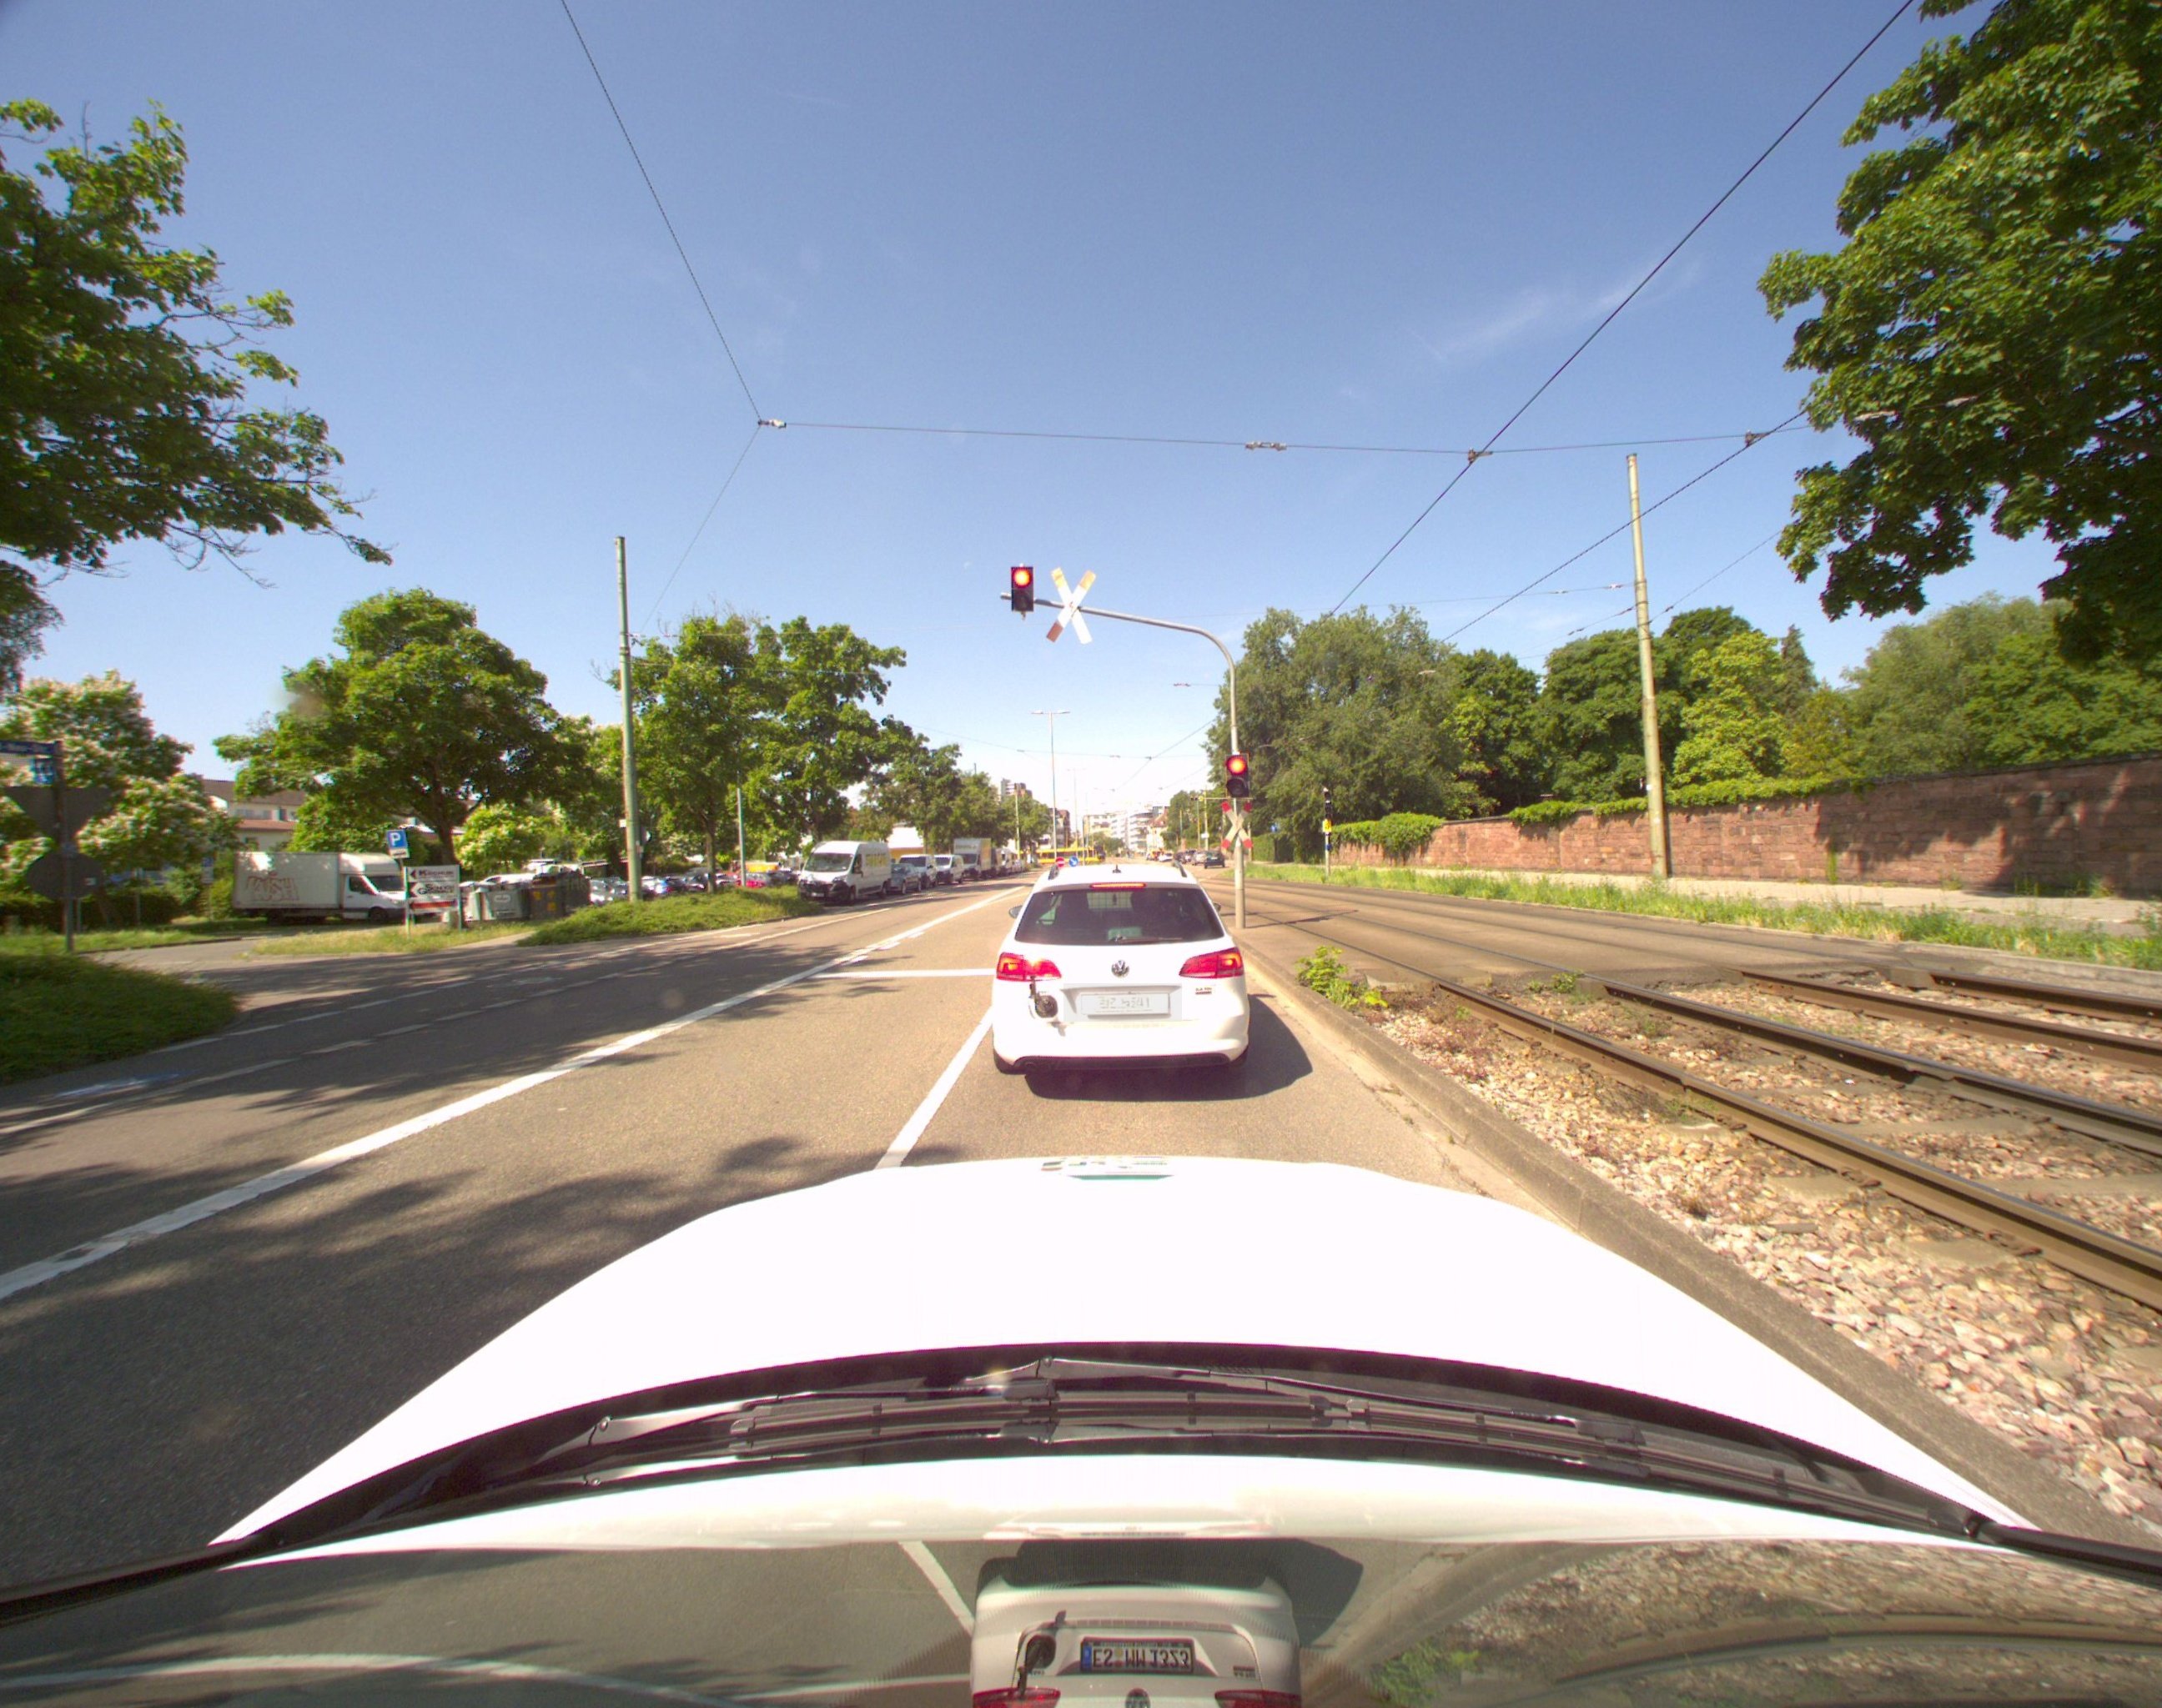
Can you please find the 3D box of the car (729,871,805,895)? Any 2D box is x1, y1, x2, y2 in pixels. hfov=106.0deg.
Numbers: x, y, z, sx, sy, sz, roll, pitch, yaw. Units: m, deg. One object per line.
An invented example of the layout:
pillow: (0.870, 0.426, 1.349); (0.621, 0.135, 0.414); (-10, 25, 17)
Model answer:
car: (-19.482, 1.778, 50.617); (3.969, 1.225, 1.773); (-3, 0, 4)

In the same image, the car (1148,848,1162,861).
car: (15.064, 0.125, 166.031); (2.454, 2.499, 5.912); (0, -1, 2)

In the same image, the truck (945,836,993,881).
truck: (-8.276, 0.303, 60.983); (2.348, 3.122, 6.893); (-3, 0, 1)

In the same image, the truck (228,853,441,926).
truck: (-32.335, 1.495, 35.449); (7.119, 3.019, 2.231); (0, 0, -1)

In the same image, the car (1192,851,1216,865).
car: (12.465, 0.370, 82.581); (1.854, 1.416, 4.326); (0, 0, 2)

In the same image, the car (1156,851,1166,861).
car: (14.635, 0.314, 149.256); (1.685, 1.812, 3.455); (0, -1, 1)

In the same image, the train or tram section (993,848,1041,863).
train or tram section: (-14.272, 0.401, 181.280); (10.880, 3.253, 2.322); (-1, -1, 27)

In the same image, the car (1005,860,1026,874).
car: (-7.383, 1.406, 92.129); (1.837, 1.433, 4.039); (-3, 0, 2)

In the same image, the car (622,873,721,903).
car: (-20.169, 1.667, 40.217); (3.969, 1.225, 1.773); (-3, 0, 4)

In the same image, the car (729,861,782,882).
car: (-31.282, 1.693, 78.373); (4.249, 2.014, 1.997); (0, -1, -5)

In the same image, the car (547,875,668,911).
car: (-19.866, 1.612, 34.304); (3.974, 1.225, 1.771); (-3, 0, 0)

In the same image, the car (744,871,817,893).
car: (-19.477, 1.795, 52.838); (3.969, 1.225, 1.773); (-3, 0, 4)

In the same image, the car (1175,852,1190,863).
car: (13.428, 0.480, 108.050); (1.739, 1.407, 3.916); (0, 0, 3)

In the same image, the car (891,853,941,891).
car: (-9.247, 0.976, 46.145); (1.839, 1.937, 5.190); (-3, 0, -2)

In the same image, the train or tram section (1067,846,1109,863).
train or tram section: (1.362, 0.177, 168.010); (2.319, 3.253, 11.149); (0, -1, -37)

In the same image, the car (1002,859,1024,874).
car: (-7.175, 1.322, 86.211); (1.837, 1.433, 4.039); (-3, 0, 2)

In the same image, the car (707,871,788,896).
car: (-19.588, 1.742, 47.950); (3.969, 1.225, 1.773); (-3, 0, 4)

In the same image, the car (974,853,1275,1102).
car: (0.290, 0.722, 6.741); (1.762, 1.446, 3.914); (0, 0, 1)

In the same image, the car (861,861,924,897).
car: (-9.030, 1.184, 39.365); (1.837, 1.516, 4.199); (-3, 0, 2)

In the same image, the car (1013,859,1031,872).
car: (-7.033, 1.378, 97.357); (1.774, 1.433, 4.039); (-3, 0, 2)

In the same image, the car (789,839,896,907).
car: (-9.548, 0.672, 33.246); (2.049, 2.501, 6.315); (0, 0, 4)

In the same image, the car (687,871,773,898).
car: (-19.494, 1.697, 45.320); (3.969, 1.264, 1.773); (-3, 0, 4)

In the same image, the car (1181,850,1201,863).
car: (12.859, 0.301, 95.331); (1.854, 1.513, 3.914); (0, 0, 2)

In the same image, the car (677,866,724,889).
car: (-34.279, 2.117, 73.347); (3.412, 1.876, 1.552); (-3, 0, -1)

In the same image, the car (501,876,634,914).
car: (-19.967, 1.575, 31.790); (3.974, 1.225, 1.771); (-3, 0, 0)

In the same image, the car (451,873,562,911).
car: (-32.133, 2.100, 45.670); (4.683, 2.014, 1.997); (0, -1, -4)

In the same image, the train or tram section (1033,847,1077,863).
train or tram section: (-5.680, 0.297, 175.678); (10.668, 3.253, 2.323); (-1, -1, 39)

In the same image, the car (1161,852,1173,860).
car: (13.551, 0.310, 128.736); (1.576, 1.346, 3.455); (0, -1, 1)

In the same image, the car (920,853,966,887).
car: (-8.841, 0.976, 52.698); (1.836, 1.960, 5.137); (-3, 0, 2)

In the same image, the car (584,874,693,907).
car: (-20.060, 1.656, 37.029); (3.969, 1.225, 1.773); (-3, 0, 4)

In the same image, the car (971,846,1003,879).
car: (-7.894, 0.683, 68.710); (1.836, 2.668, 5.006); (-3, 0, 2)

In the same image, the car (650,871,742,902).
car: (-20.250, 1.693, 42.907); (3.969, 1.350, 1.773); (-3, 0, 4)

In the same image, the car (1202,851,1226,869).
car: (10.660, 0.435, 65.238); (1.734, 1.388, 3.925); (-1, 0, 11)

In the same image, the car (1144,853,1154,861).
car: (15.051, 0.678, 180.546); (1.986, 1.596, 4.002); (0, -1, 2)

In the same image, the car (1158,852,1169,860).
car: (14.220, 0.435, 140.218); (1.576, 1.346, 3.455); (0, -1, 1)

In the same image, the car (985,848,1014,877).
car: (-7.600, 0.754, 76.574); (1.836, 2.494, 5.860); (-3, 0, 2)
